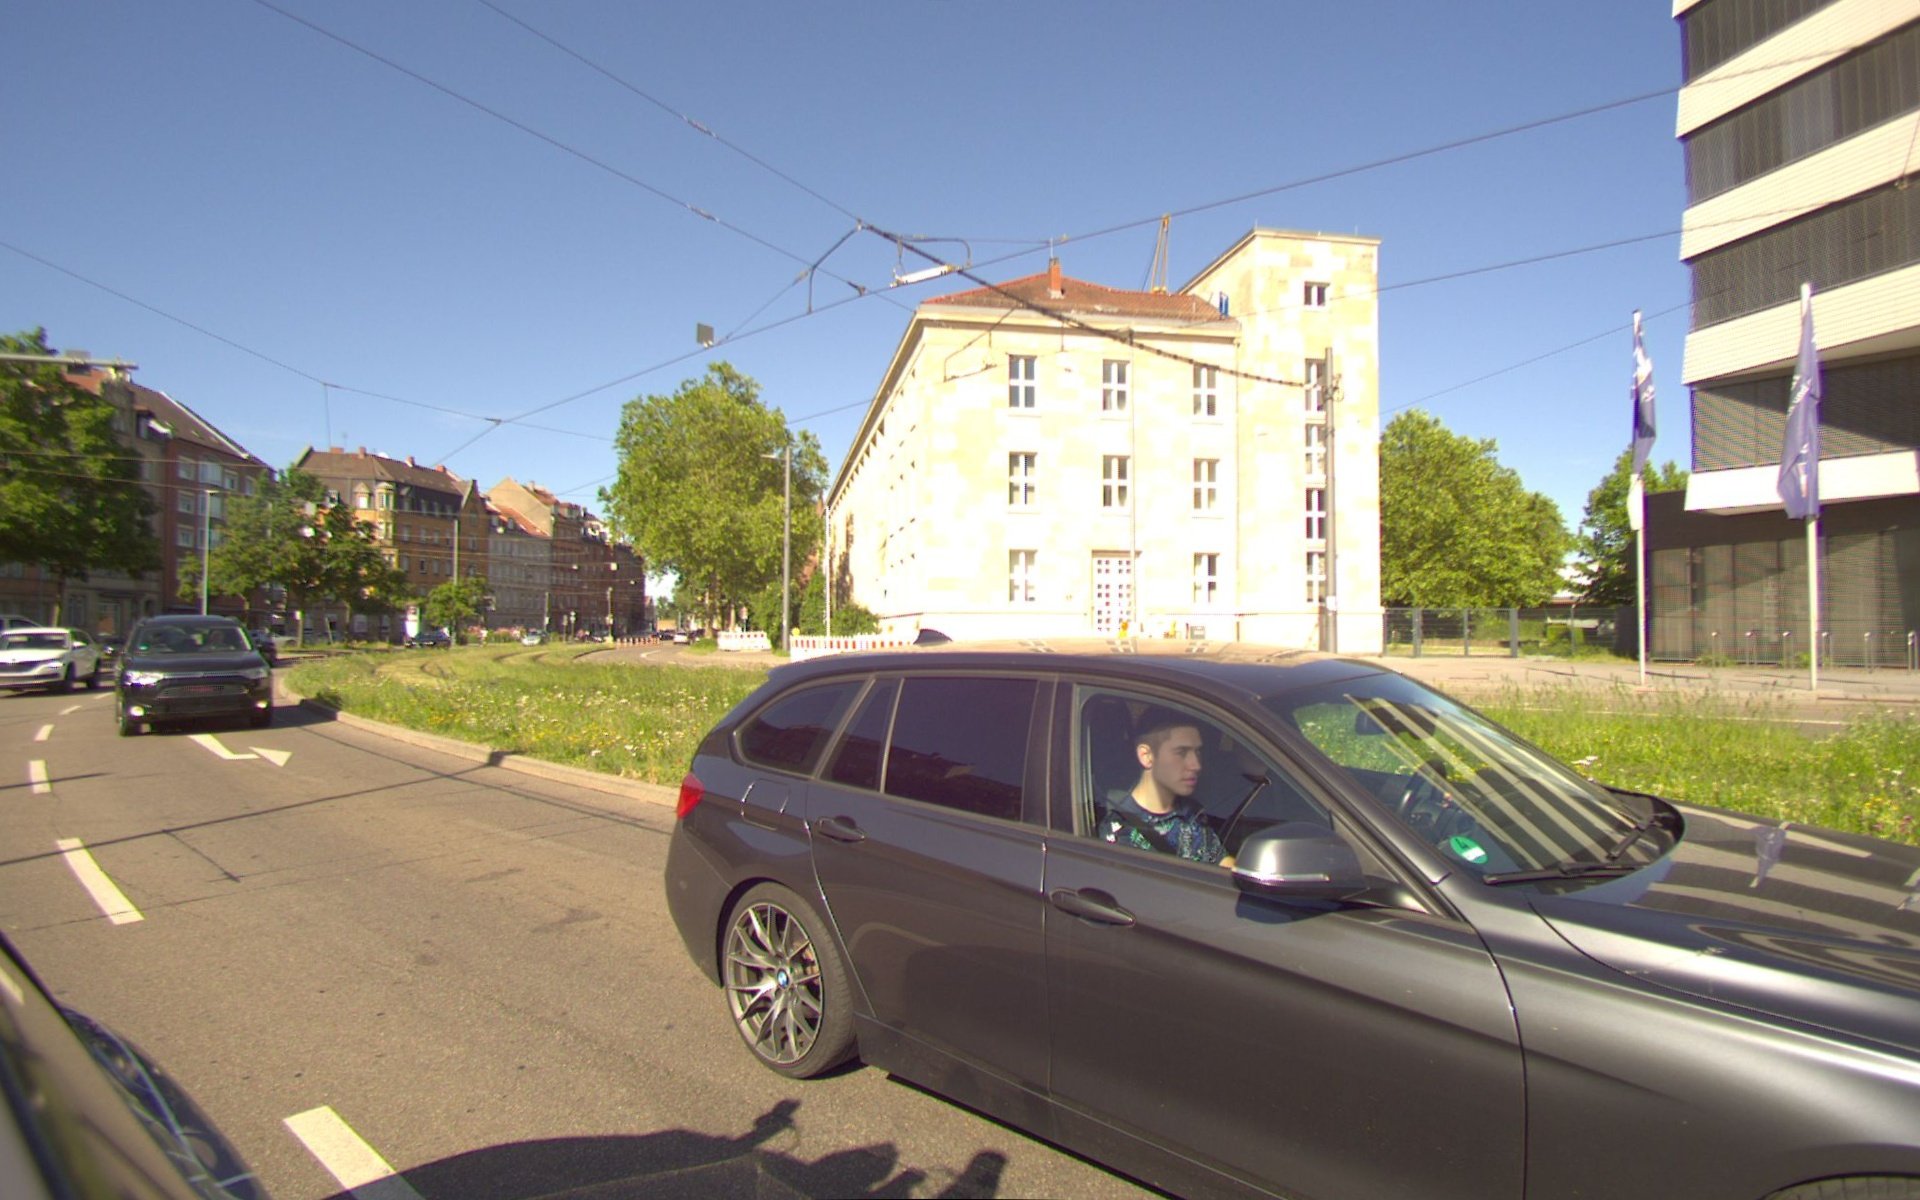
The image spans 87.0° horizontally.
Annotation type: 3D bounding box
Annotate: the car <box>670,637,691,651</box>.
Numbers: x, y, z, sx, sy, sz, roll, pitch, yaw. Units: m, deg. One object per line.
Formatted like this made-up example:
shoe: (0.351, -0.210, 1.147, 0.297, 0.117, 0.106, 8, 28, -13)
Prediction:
car: (-30.317, 4.724, 109.881, 1.806, 1.464, 4.179, 1, -2, -10)

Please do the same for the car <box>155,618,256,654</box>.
car: (-47.812, 2.310, 64.182, 2.021, 2.091, 4.809, -2, -4, 44)

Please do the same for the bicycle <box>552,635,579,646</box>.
bicycle: (-55.809, 5.672, 143.360, 1.940, 1.427, 6.837, 3, -2, -7)

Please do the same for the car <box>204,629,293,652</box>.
car: (-49.698, 2.821, 70.760, 4.807, 1.446, 2.022, 4, -4, -44)

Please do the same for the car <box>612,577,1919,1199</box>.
car: (1.010, 0.711, 2.847, 4.465, 1.434, 1.716, -2, 0, 41)

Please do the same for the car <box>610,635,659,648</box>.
car: (-36.592, 4.670, 113.823, 4.906, 1.464, 1.830, 0, -2, 10)

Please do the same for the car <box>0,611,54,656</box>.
car: (-44.821, 1.482, 46.102, 5.106, 2.028, 2.104, 4, -3, -41)

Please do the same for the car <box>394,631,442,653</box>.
car: (-36.971, 2.838, 69.111, 1.859, 1.438, 4.387, 0, -2, -13)

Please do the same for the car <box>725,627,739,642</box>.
car: (-32.750, 4.902, 145.212, 1.890, 2.113, 4.603, 0, -2, -13)

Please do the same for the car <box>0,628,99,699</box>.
car: (-23.251, 1.524, 25.440, 1.772, 1.648, 4.406, 1, -2, -32)

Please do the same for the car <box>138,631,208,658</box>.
car: (-57.293, 3.202, 73.807, 1.969, 1.484, 4.498, -7, 1, -9)

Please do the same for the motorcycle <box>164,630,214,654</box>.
motorcycle: (-46.971, 2.580, 61.661, 0.851, 1.431, 2.239, -1, -3, 29)

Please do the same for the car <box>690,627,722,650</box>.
car: (-16.924, 2.547, 67.474, 1.806, 1.504, 4.190, 0, -2, -11)

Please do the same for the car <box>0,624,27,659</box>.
car: (-43.061, 1.743, 43.709, 3.971, 1.490, 1.814, 4, -3, -45)

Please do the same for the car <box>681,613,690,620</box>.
car: (-64.165, 3.890, 236.366, 1.769, 1.440, 4.386, 0, -2, -11)

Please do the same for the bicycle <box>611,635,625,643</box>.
bicycle: (-54.644, 6.223, 161.733, 1.896, 1.146, 0.843, 1, -2, 5)

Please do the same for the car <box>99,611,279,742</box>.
car: (-11.923, 1.058, 15.522, 1.814, 1.695, 4.648, 0, -2, -42)
